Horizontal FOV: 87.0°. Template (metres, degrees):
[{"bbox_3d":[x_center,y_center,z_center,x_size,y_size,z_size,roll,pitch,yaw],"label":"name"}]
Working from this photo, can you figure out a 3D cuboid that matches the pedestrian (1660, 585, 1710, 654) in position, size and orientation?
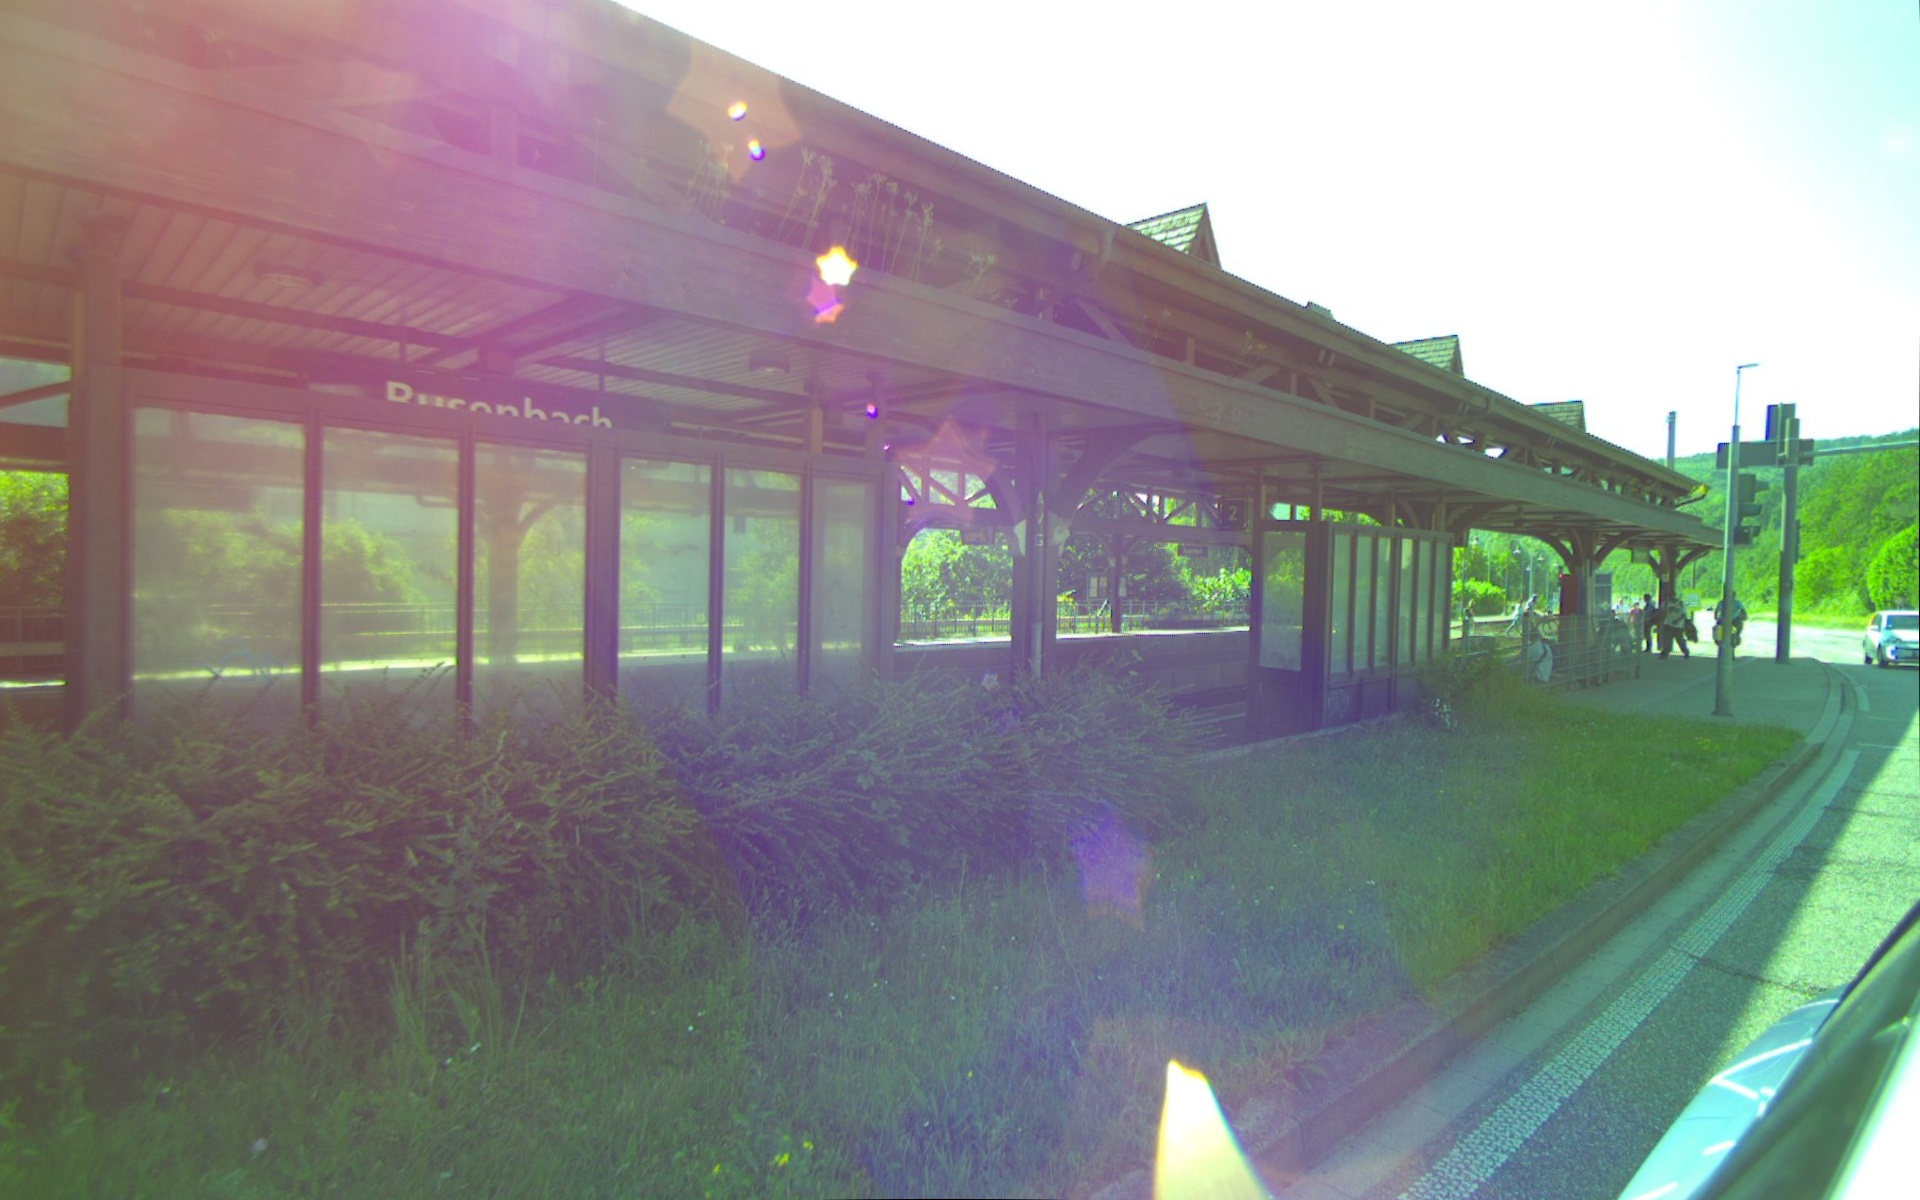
[{"bbox_3d":[19.059,0.518,26.614,0.913,1.759,1.232,-1,-2,42],"label":"pedestrian"}]

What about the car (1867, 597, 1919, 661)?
[{"bbox_3d":[25.387,0.732,26.457,1.987,1.605,3.949,-1,-1,35],"label":"car"}]

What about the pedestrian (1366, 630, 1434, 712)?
[{"bbox_3d":[6.391,1.012,14.697,0.741,1.131,0.657,-1,-2,42],"label":"pedestrian"}]

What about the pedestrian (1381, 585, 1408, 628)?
[{"bbox_3d":[18.919,0.297,44.032,0.899,1.873,0.811,-1,-2,38],"label":"pedestrian"}]

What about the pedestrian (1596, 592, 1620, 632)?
[{"bbox_3d":[27.517,0.521,42.974,0.669,1.706,0.560,1,-2,-20],"label":"pedestrian"}]

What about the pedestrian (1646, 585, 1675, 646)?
[{"bbox_3d":[20.143,0.437,29.102,0.655,1.713,0.730,1,1,35],"label":"pedestrian"}]

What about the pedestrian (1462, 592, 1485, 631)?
[{"bbox_3d":[22.925,0.519,45.196,0.894,1.706,1.114,0,-2,26],"label":"pedestrian"}]

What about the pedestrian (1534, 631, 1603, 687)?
[{"bbox_3d":[10.159,0.966,16.889,0.844,0.885,0.795,-1,-2,42],"label":"pedestrian"}]

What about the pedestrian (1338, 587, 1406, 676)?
[{"bbox_3d":[7.557,0.565,18.577,0.860,1.567,0.908,1,-1,43],"label":"pedestrian"}]

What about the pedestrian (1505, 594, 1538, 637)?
[{"bbox_3d":[24.627,0.680,44.387,1.054,1.867,0.989,3,-2,-42],"label":"pedestrian"}]

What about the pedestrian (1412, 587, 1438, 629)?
[{"bbox_3d":[21.071,0.353,45.846,0.899,1.873,0.811,-1,-2,38],"label":"pedestrian"}]

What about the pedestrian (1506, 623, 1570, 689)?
[{"bbox_3d":[9.104,0.868,15.937,0.741,0.995,0.757,-1,-2,42],"label":"pedestrian"}]

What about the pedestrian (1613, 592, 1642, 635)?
[{"bbox_3d":[27.101,0.561,41.107,0.864,1.706,0.810,-1,-2,42],"label":"pedestrian"}]

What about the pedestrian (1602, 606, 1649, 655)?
[{"bbox_3d":[17.393,0.785,26.444,0.988,1.251,0.589,-1,-2,36],"label":"pedestrian"}]

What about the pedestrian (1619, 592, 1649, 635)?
[{"bbox_3d":[26.749,0.538,40.173,0.813,1.706,0.896,0,-2,24],"label":"pedestrian"}]

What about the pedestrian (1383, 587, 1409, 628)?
[{"bbox_3d":[20.059,0.362,46.575,0.899,1.873,0.811,-1,-2,38],"label":"pedestrian"}]

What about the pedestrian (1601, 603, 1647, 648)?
[{"bbox_3d":[18.037,0.680,27.489,1.003,1.174,0.937,1,0,35],"label":"pedestrian"}]

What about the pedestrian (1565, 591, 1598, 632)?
[{"bbox_3d":[25.922,0.479,42.217,0.807,1.706,0.903,0,-2,1],"label":"pedestrian"}]

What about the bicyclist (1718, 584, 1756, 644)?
[{"bbox_3d":[21.094,0.386,27.474,0.783,1.589,0.934,-1,-1,38],"label":"bicyclist"}]

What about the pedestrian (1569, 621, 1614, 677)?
[{"bbox_3d":[11.231,0.860,17.999,0.616,0.978,0.400,-1,-2,42],"label":"pedestrian"}]

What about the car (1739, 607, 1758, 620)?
[{"bbox_3d":[109.590,1.862,140.695,1.990,1.772,3.942,-1,-2,40],"label":"car"}]

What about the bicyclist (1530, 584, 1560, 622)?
[{"bbox_3d":[26.567,0.133,45.957,0.806,1.706,0.904,1,-2,-32],"label":"bicyclist"}]

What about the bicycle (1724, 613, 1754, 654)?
[{"bbox_3d":[21.081,0.889,27.400,0.600,1.069,1.789,-1,-1,37],"label":"bicycle"}]

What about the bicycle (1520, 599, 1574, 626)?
[{"bbox_3d":[26.582,0.580,45.872,0.696,1.224,2.021,1,-2,-31],"label":"bicycle"}]
